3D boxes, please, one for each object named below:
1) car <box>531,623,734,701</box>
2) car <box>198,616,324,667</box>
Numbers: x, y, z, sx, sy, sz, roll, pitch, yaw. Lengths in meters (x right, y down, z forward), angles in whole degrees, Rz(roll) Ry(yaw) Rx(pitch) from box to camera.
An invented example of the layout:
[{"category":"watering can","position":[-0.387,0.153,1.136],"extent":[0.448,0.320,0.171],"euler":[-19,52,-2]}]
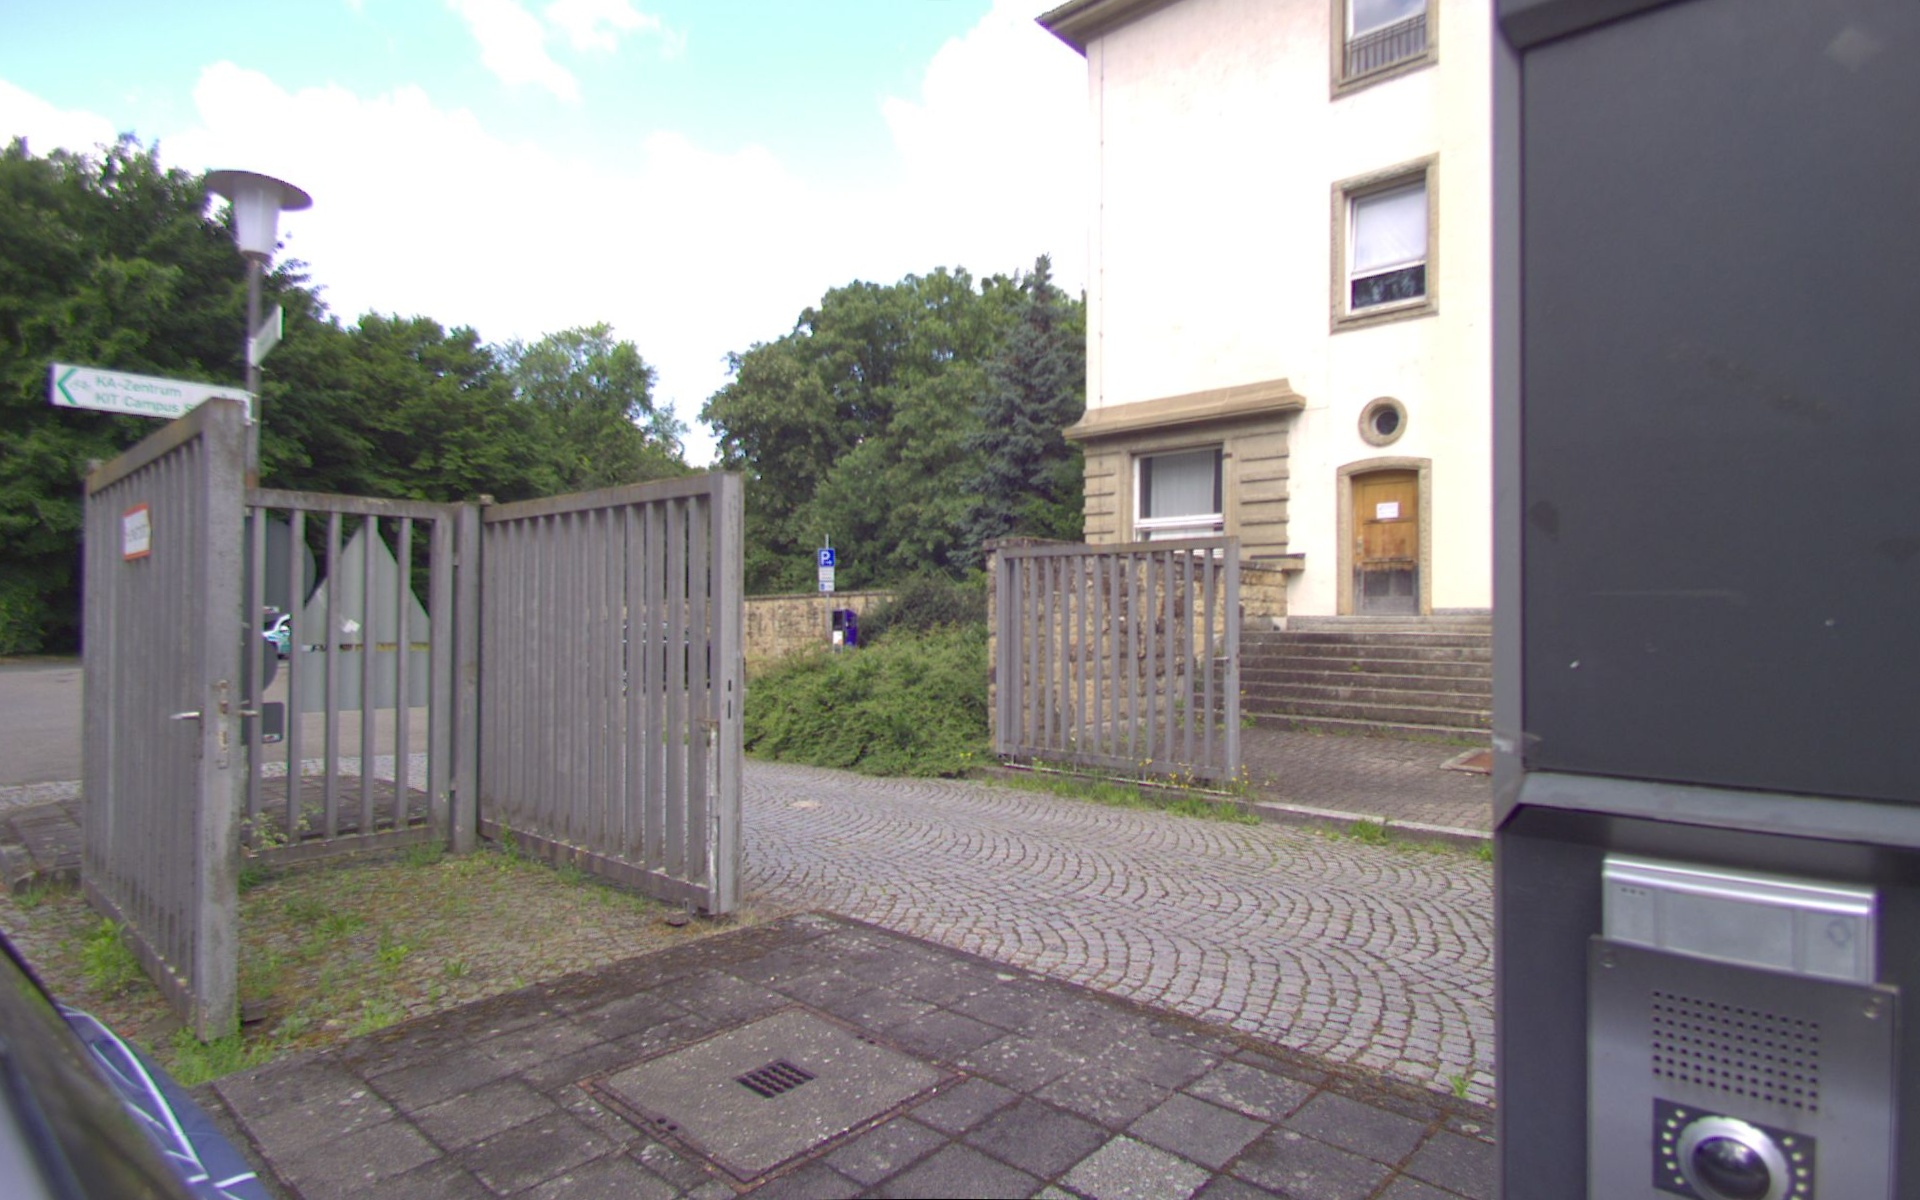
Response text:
[{"category":"car","position":[-7.235,1.303,22.575],"extent":[3.939,1.529,1.804],"euler":[0,-1,-43]},{"category":"car","position":[-26.712,1.551,38.859],"extent":[1.843,1.772,4.146],"euler":[1,-1,2]}]
